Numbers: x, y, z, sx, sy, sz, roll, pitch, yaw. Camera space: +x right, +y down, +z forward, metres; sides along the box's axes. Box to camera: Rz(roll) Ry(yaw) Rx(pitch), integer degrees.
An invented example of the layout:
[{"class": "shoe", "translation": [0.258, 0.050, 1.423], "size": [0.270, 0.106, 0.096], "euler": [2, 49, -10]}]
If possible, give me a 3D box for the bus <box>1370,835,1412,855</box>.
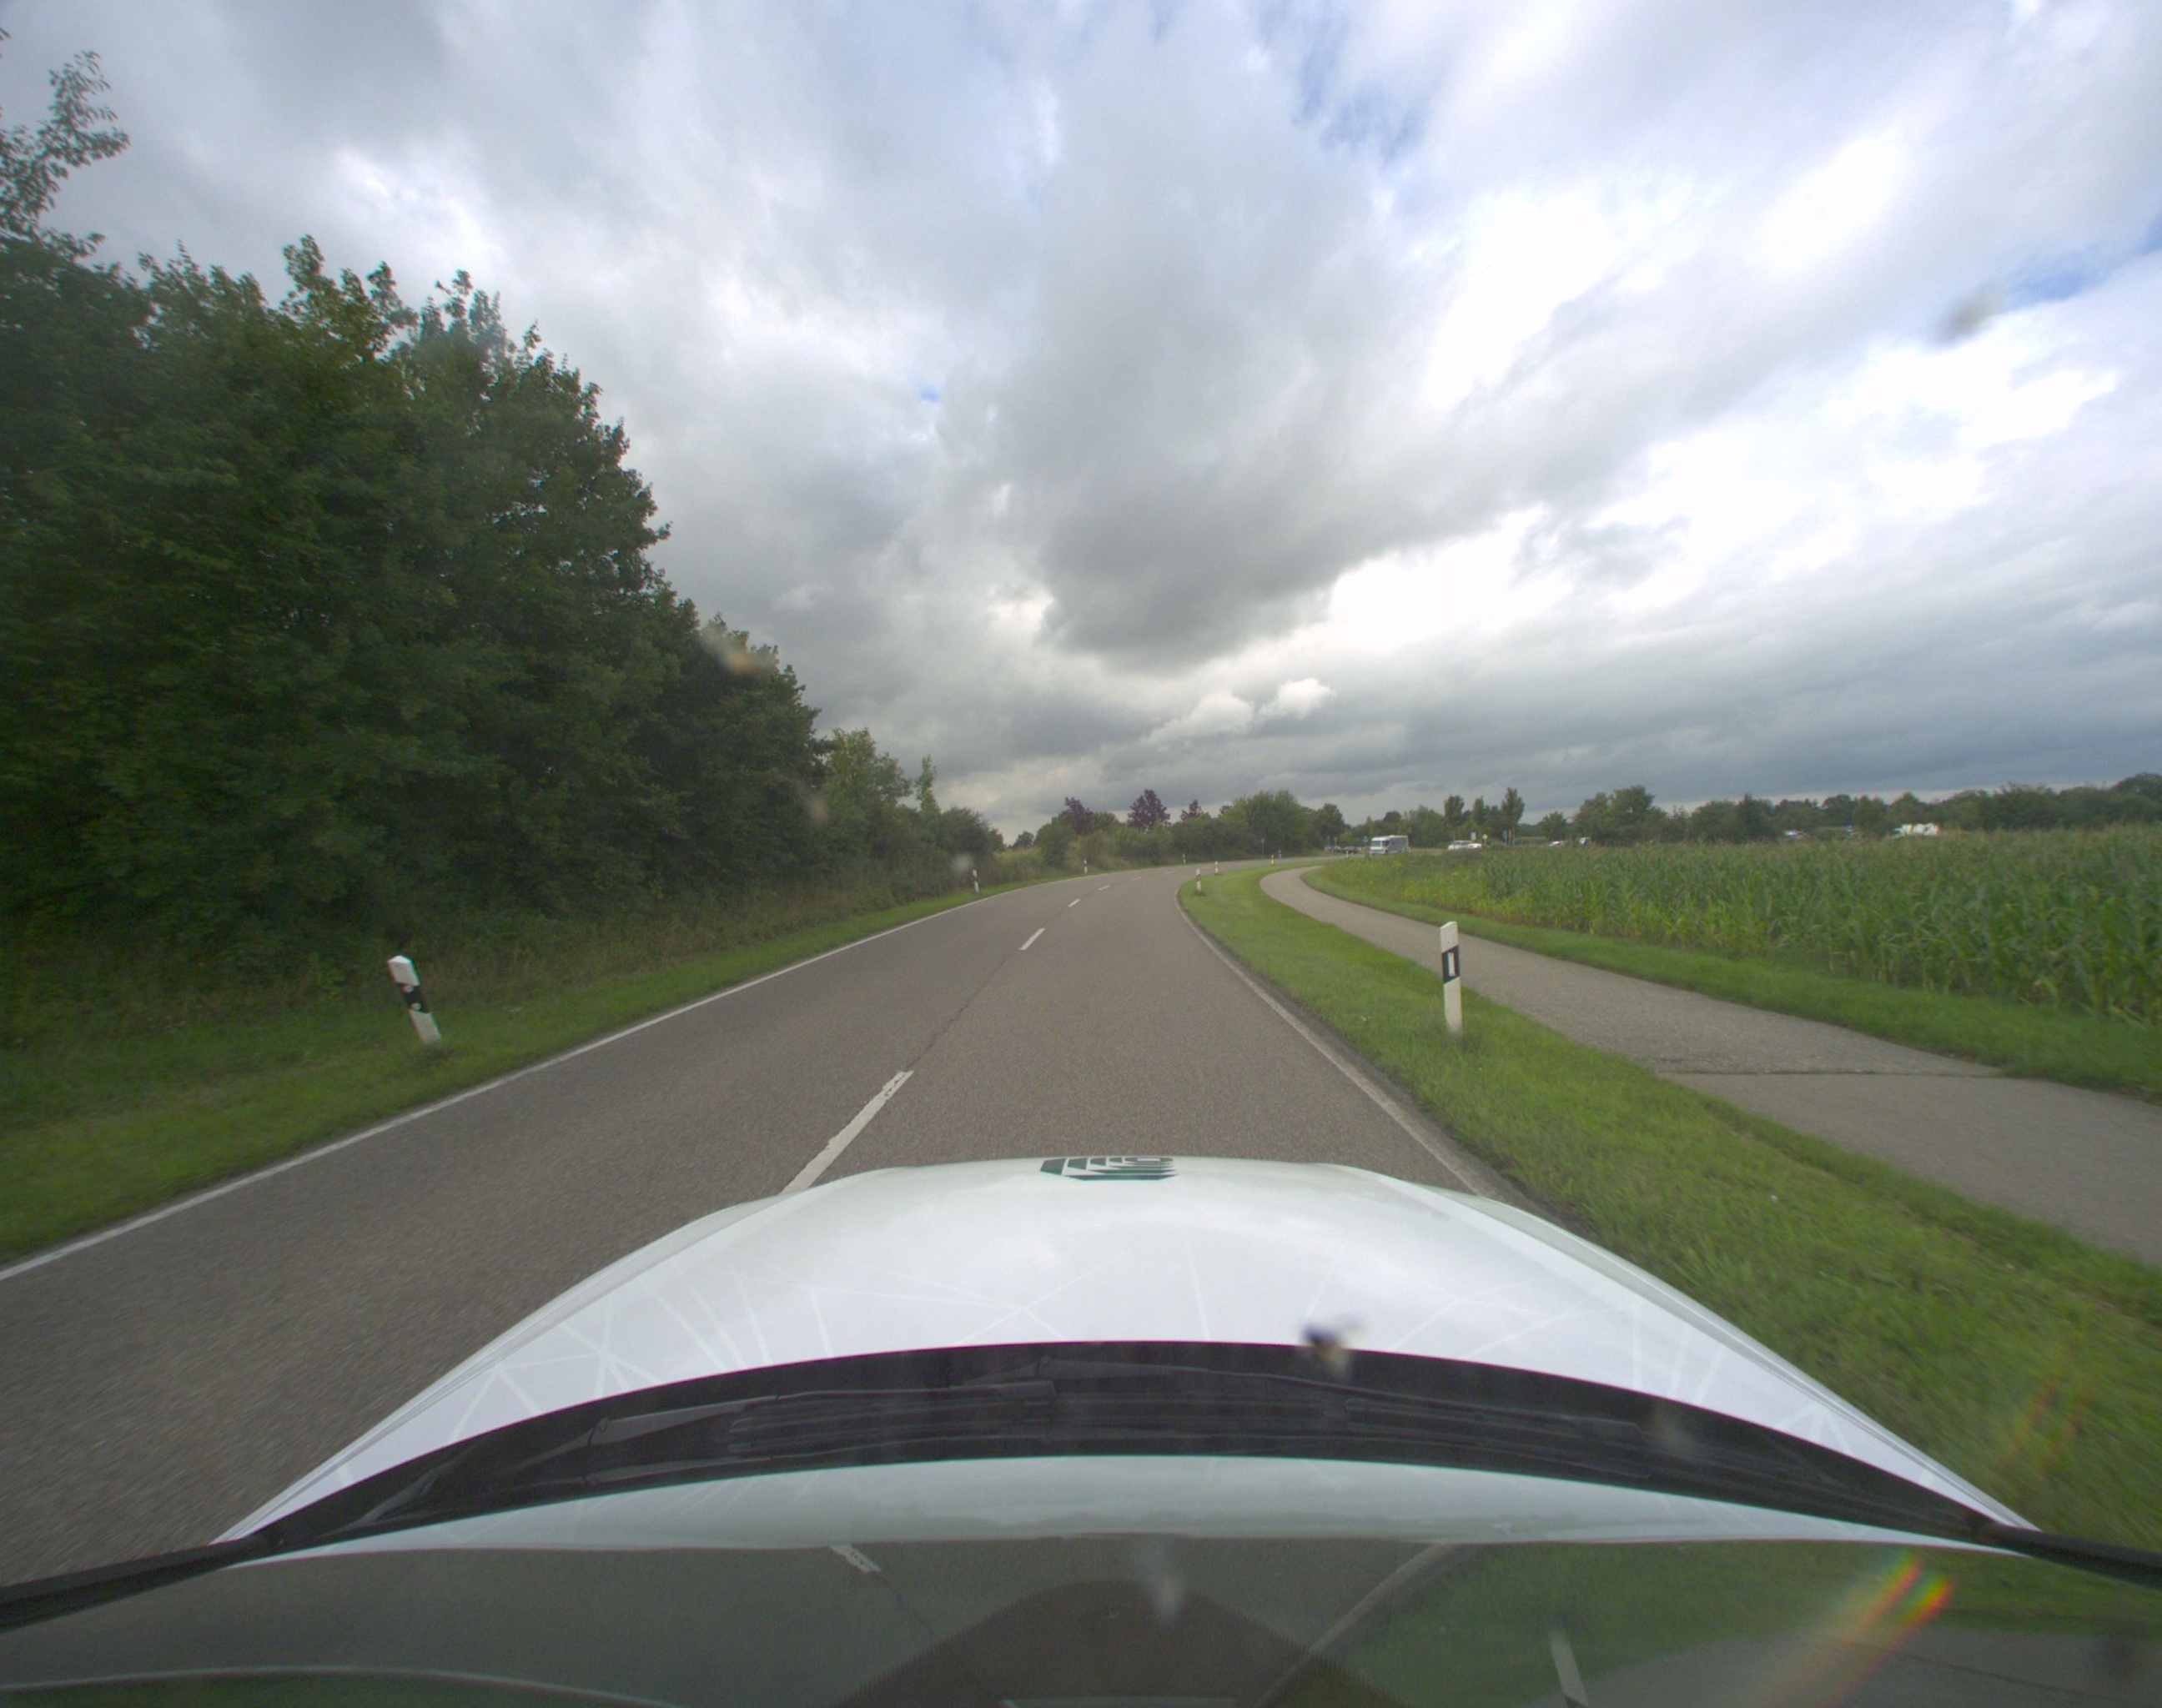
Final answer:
[{"class": "bus", "translation": [45.702, -1.376, 119.818], "size": [8.480, 2.711, 2.452], "euler": [-2, 0, -45]}]
